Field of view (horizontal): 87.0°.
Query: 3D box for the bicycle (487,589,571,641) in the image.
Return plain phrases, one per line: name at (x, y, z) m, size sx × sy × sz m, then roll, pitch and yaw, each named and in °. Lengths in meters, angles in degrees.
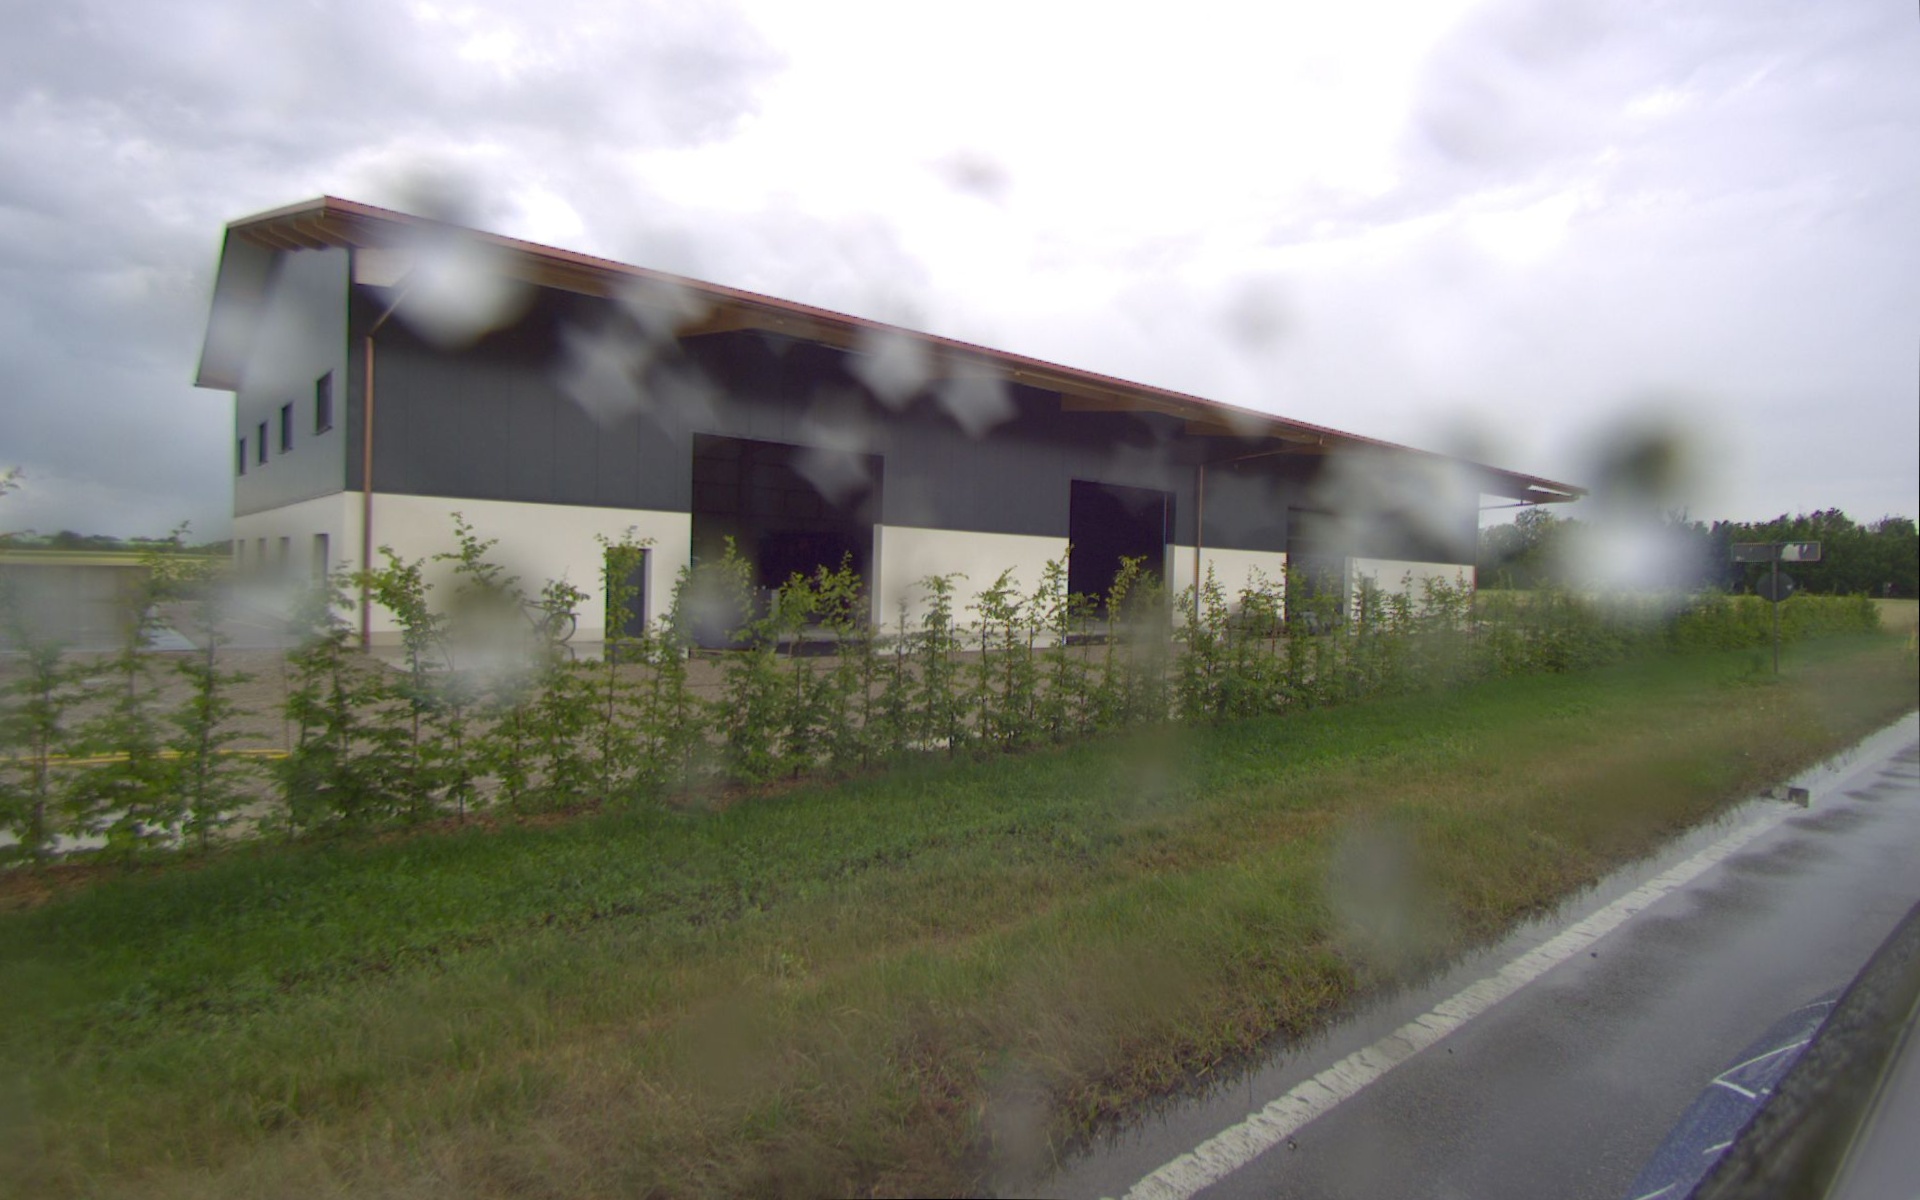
bicycle at (-9.380, 0.312, 22.053) m, size 1.631 × 1.085 × 0.391 m, roll 0°, pitch 2°, yaw -41°
